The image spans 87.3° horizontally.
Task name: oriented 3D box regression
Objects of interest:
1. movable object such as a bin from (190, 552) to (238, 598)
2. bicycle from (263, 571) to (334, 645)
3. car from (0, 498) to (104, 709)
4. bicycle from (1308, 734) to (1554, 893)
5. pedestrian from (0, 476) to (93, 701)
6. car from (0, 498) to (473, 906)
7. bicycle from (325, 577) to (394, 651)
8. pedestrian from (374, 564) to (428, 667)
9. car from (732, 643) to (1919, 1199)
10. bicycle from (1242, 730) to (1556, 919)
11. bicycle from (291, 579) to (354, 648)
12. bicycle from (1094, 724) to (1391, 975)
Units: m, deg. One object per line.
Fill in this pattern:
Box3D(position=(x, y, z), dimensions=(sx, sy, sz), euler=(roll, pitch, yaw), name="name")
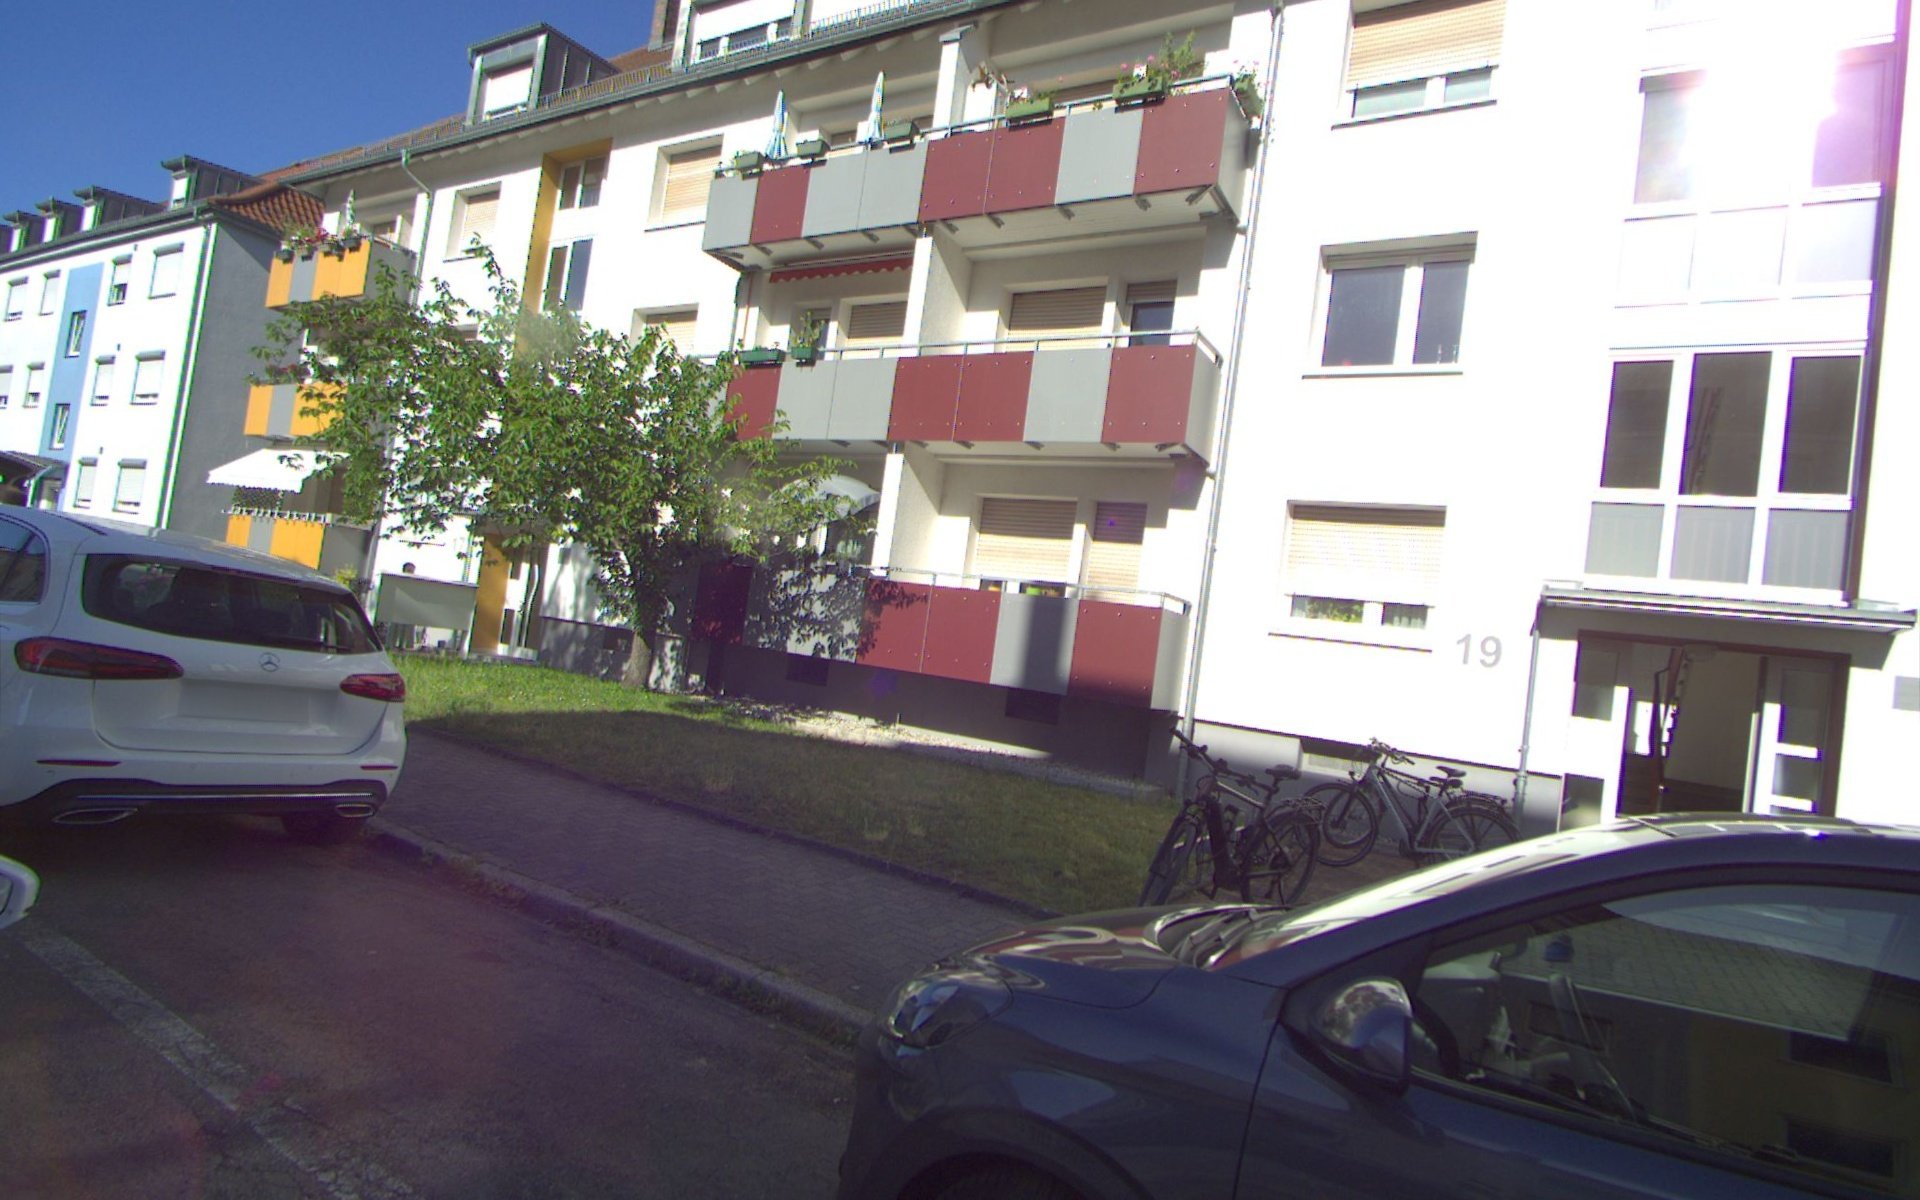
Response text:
Box3D(position=(-18.362, -0.609, 24.765), dimensions=(0.745, 1.046, 0.643), euler=(4, -2, 32), name="movable object such as a bin")
Box3D(position=(-11.224, 0.136, 17.058), dimensions=(1.278, 1.099, 0.403), euler=(7, -1, 33), name="bicycle")
Box3D(position=(-9.885, -0.268, 8.966), dimensions=(4.915, 1.629, 1.999), euler=(6, -5, 34), name="car")
Box3D(position=(4.381, 1.944, 9.434), dimensions=(1.942, 1.049, 0.521), euler=(6, -1, 32), name="bicycle")
Box3D(position=(-7.530, -0.106, 7.880), dimensions=(0.594, 1.707, 0.821), euler=(7, -1, 31), name="pedestrian")
Box3D(position=(-5.006, 0.298, 5.628), dimensions=(4.405, 1.521, 1.778), euler=(6, -4, 30), name="car")
Box3D(position=(-10.581, 0.245, 17.715), dimensions=(1.252, 1.145, 0.404), euler=(7, -2, 33), name="bicycle")
Box3D(position=(-8.482, 0.237, 15.267), dimensions=(0.354, 1.512, 0.451), euler=(5, -2, 32), name="pedestrian")
Box3D(position=(1.666, 1.113, 1.713), dimensions=(3.996, 1.464, 1.651), euler=(6, -5, 34), name="car")
Box3D(position=(3.600, 1.794, 8.377), dimensions=(2.250, 1.061, 0.521), euler=(6, -1, 32), name="bicycle")
Box3D(position=(-10.486, 0.236, 16.563), dimensions=(0.235, 1.059, 0.741), euler=(7, -1, 34), name="bicycle")
Box3D(position=(1.881, 1.434, 6.331), dimensions=(0.866, 1.143, 2.425), euler=(6, -2, 37), name="bicycle")
